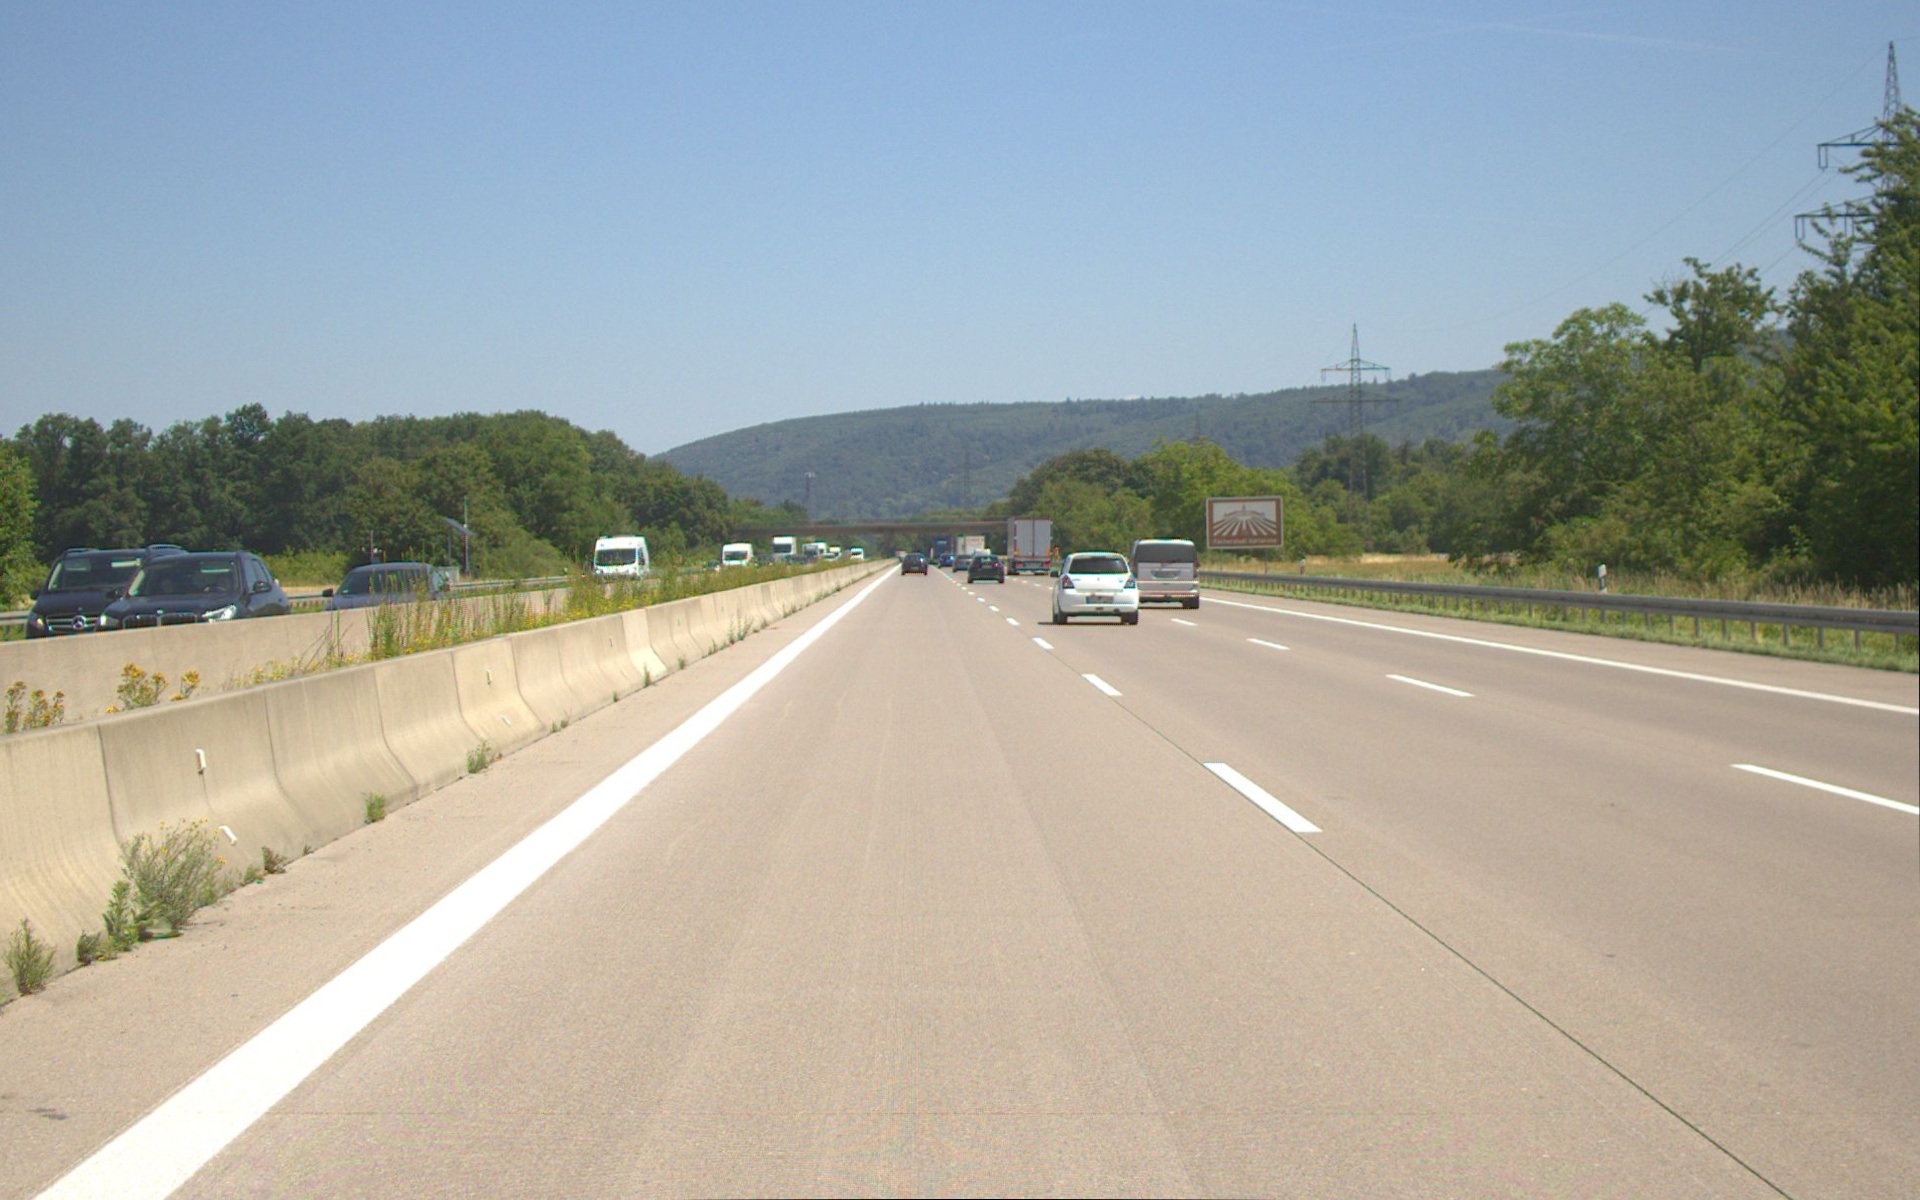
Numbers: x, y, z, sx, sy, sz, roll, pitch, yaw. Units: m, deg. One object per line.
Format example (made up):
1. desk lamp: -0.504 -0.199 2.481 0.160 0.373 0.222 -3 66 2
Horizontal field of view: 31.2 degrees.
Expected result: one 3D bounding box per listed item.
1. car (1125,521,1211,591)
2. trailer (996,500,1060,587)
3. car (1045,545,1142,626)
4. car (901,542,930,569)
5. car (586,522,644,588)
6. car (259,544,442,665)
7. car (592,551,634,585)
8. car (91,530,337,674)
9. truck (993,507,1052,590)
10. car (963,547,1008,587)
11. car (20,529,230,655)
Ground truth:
1. car: 5.666 -1.223 94.088 1.993 1.842 4.000 1 1 -1
2. trailer: 4.652 -3.940 238.978 3.720 5.791 12.163 1 1 -2
3. car: 2.808 -0.331 73.080 1.819 1.656 4.000 0 1 -1
4. car: -3.023 -3.016 233.472 1.928 1.787 4.000 1 1 -1
5. car: -15.069 -1.993 150.460 2.263 2.779 7.072 1 1 -4
6. car: -9.088 0.029 51.562 1.993 1.711 4.000 1 1 1
7. car: -17.765 -1.654 176.094 1.753 1.678 4.842 1 1 -1
8. car: -9.428 -0.019 43.849 1.993 1.711 5.030 1 1 1
9. truck: 4.422 -3.673 245.586 3.720 5.791 7.054 1 1 -2
10. car: 1.247 -1.664 171.829 1.993 1.842 4.000 2 1 -2
11. car: -13.114 -0.165 54.309 1.993 1.872 5.184 1 1 1
